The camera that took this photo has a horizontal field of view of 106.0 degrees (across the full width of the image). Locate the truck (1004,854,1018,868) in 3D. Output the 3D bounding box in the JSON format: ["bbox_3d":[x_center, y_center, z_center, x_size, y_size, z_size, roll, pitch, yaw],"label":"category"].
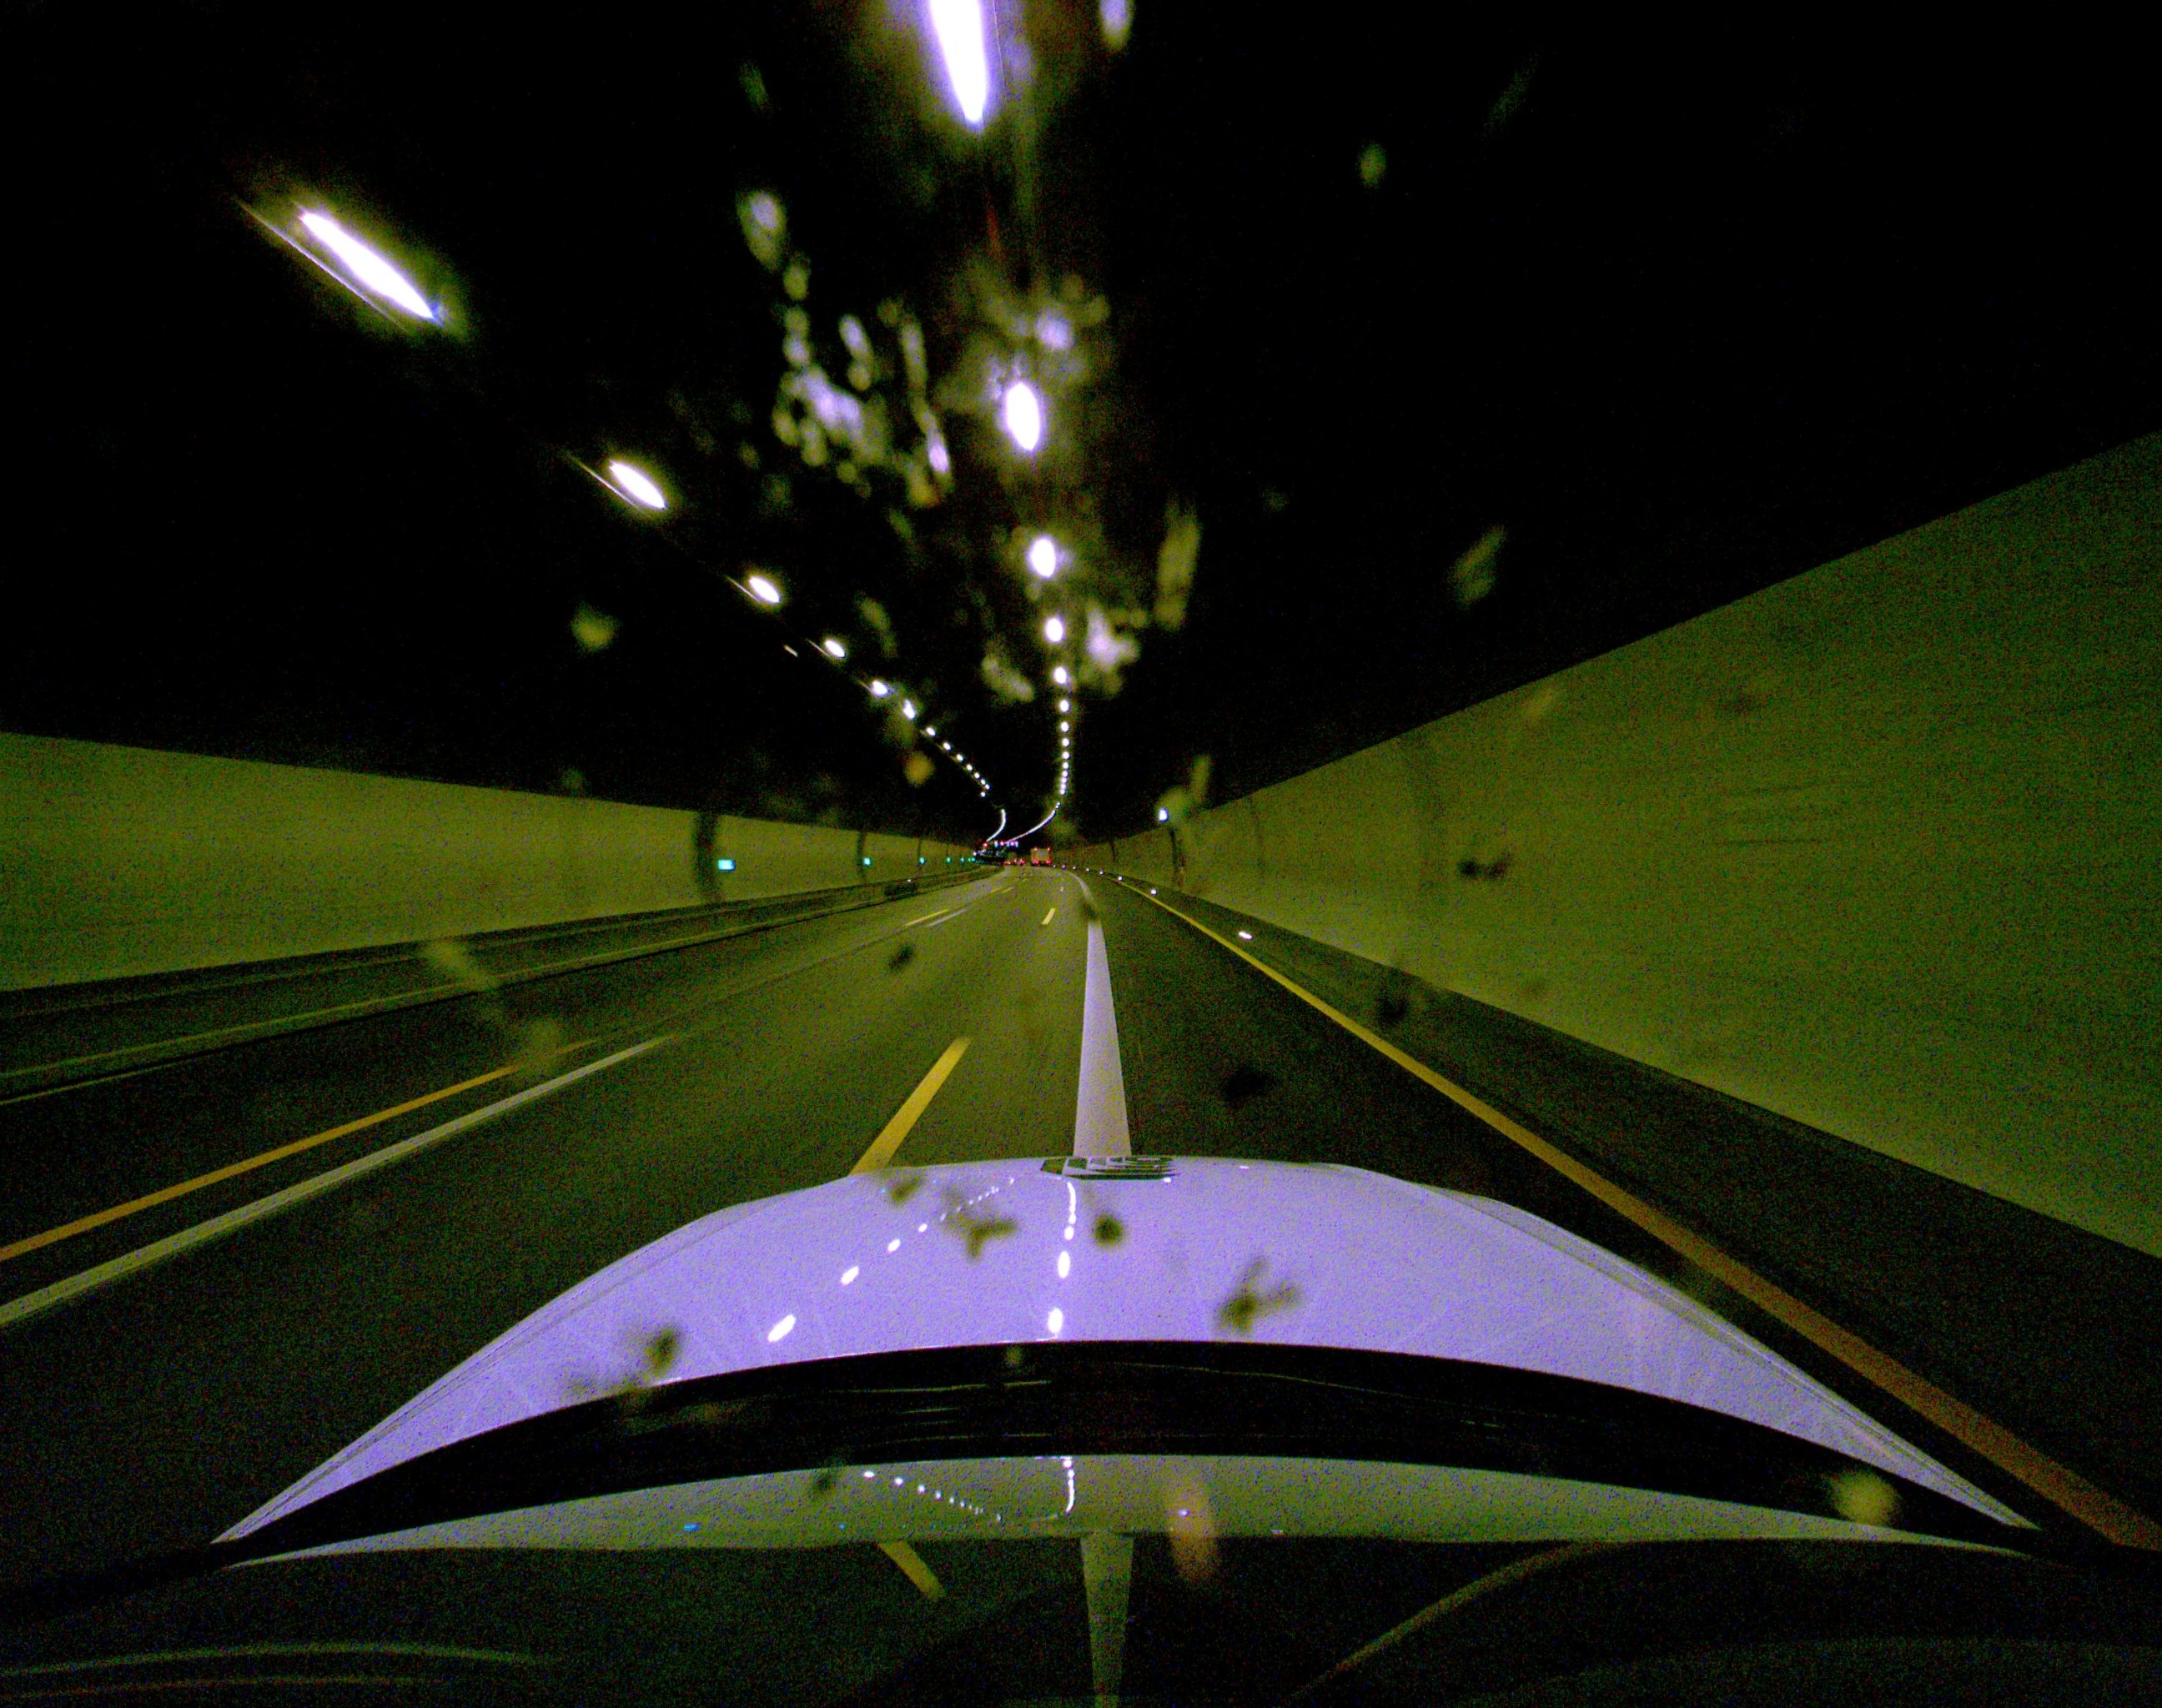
[{"bbox_3d":[-22.094,2.298,256.076,3.473,4.316,10.918,-1,-1,-9],"label":"truck"}]

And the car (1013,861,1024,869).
[{"bbox_3d":[-13.271,2.312,174.014,1.993,1.582,3.987,1,-1,-9],"label":"car"}]

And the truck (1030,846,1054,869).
[{"bbox_3d":[-7.639,0.754,158.351,3.473,4.316,10.918,0,0,-9],"label":"truck"}]
